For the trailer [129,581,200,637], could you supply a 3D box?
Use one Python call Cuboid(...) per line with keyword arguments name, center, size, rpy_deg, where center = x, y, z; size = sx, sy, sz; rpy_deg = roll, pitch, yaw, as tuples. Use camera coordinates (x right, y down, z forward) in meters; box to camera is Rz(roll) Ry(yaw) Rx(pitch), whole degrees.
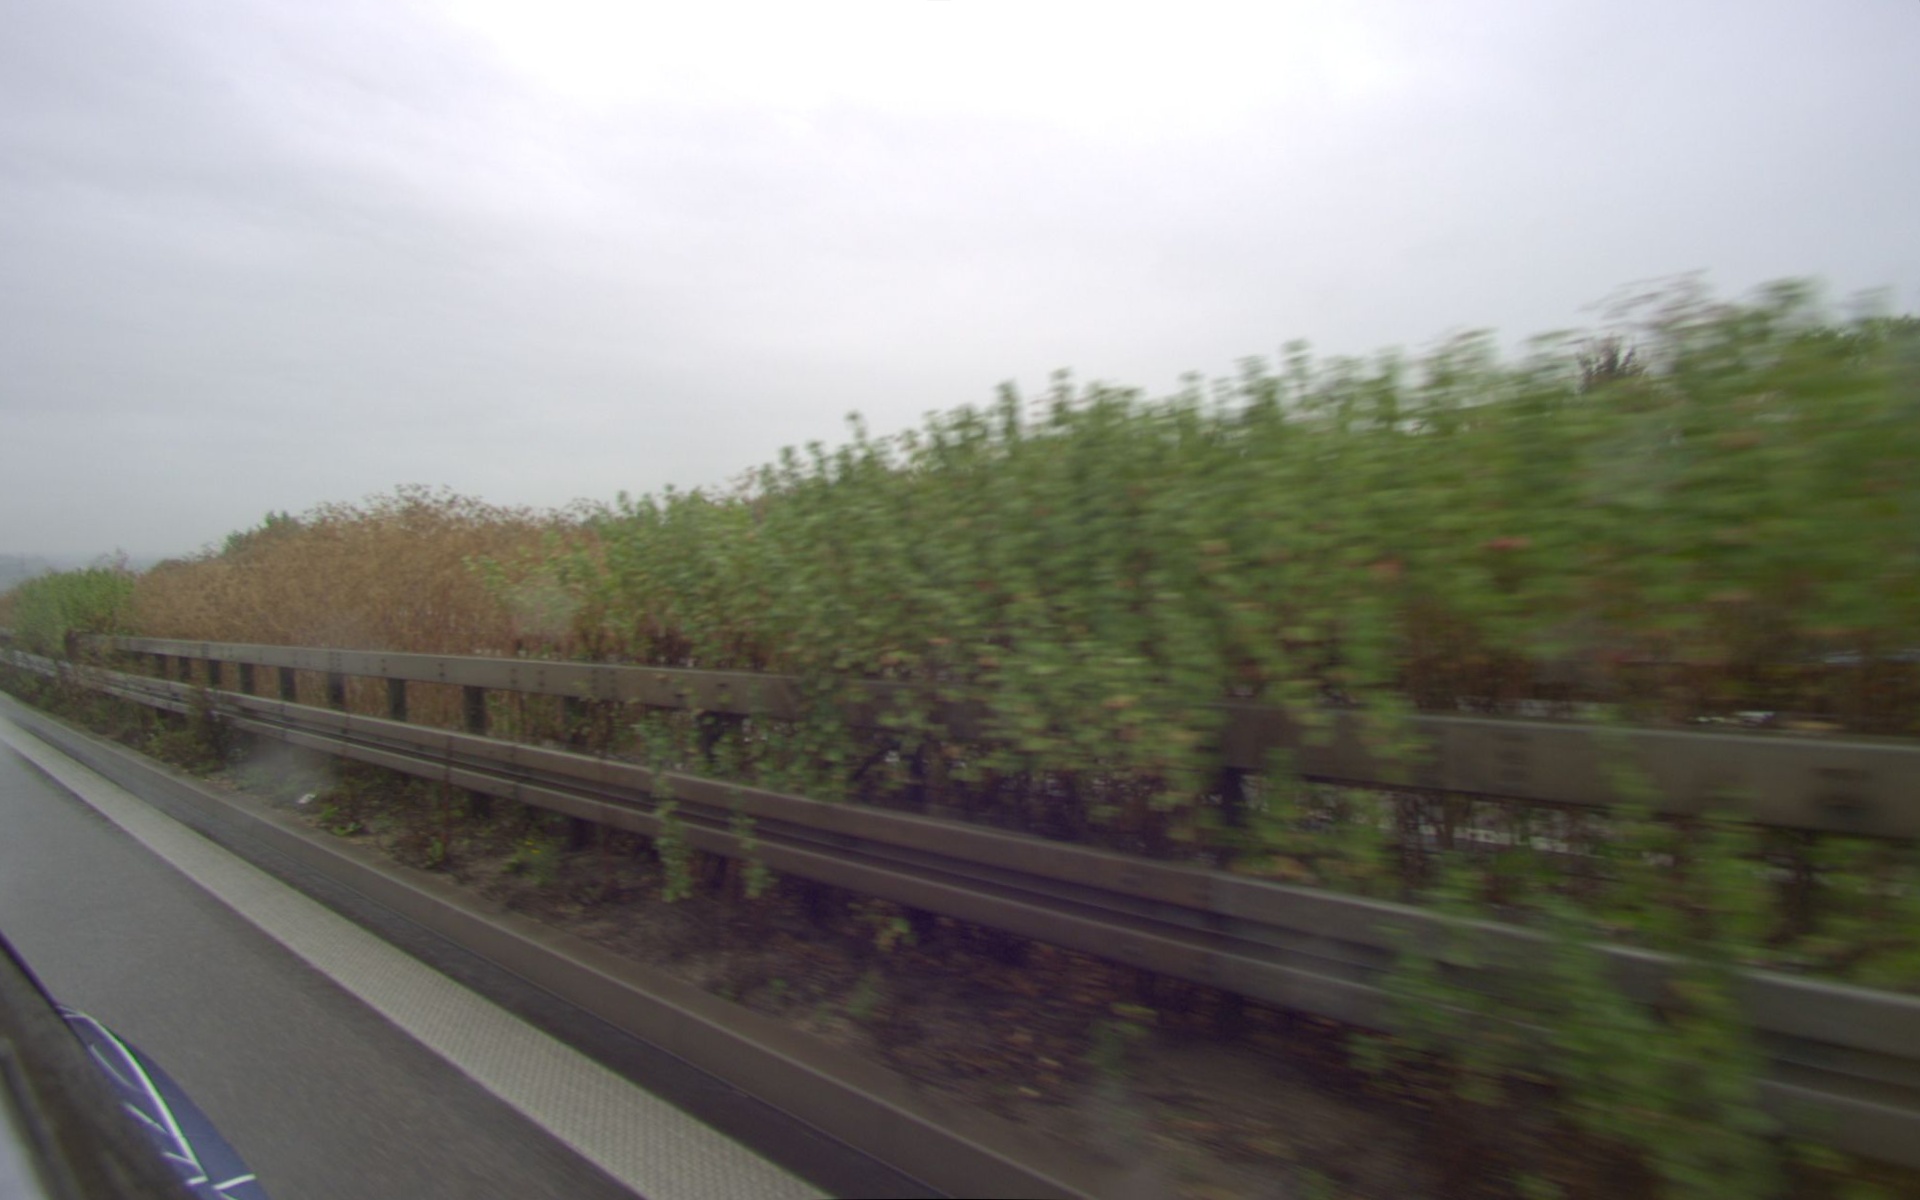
Cuboid(name="trailer", center=(-64.271, 0.746, 81.635), size=(12.942, 4.253, 2.490), rpy_deg=(-1, -1, 43))
